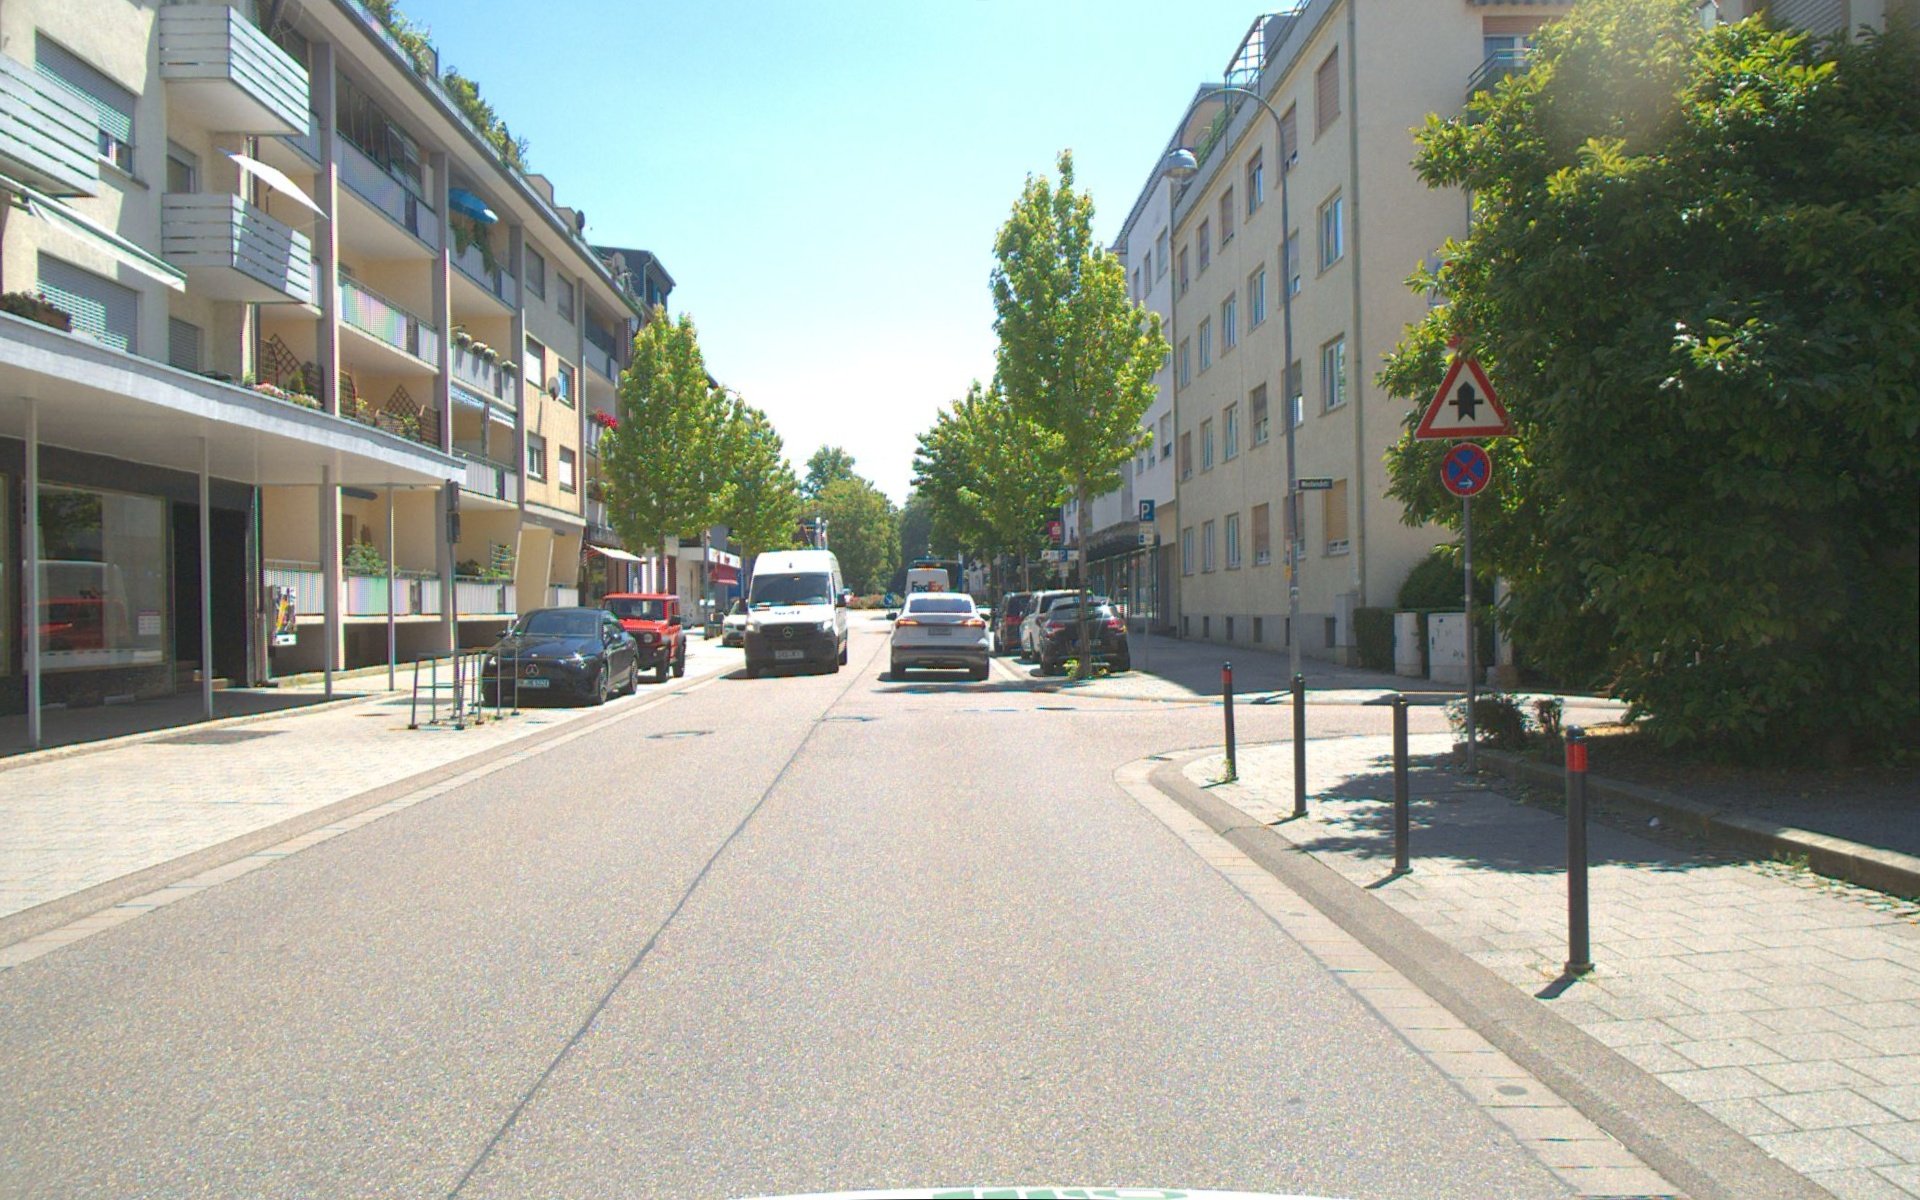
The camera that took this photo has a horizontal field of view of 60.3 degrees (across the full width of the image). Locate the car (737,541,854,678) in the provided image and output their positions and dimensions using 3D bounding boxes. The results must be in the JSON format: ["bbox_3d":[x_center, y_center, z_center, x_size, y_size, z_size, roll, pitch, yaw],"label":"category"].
[{"bbox_3d":[-3.563,0.192,37.077,1.995,2.676,7.105,-3,0,-2],"label":"car"}]

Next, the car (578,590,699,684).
[{"bbox_3d":[-6.391,0.699,33.252,1.717,1.732,4.100,1,0,-2],"label":"car"}]

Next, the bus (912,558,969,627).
[{"bbox_3d":[-0.909,-0.355,83.191,2.606,3.278,7.302,1,0,1],"label":"bus"}]

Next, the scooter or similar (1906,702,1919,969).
[{"bbox_3d":[3.858,0.857,5.762,0.650,0.980,0.753,-2,0,-2],"label":"scooter or similar"}]

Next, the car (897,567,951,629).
[{"bbox_3d":[-1.491,-0.070,69.137,2.112,2.484,5.282,1,0,-1],"label":"car"}]

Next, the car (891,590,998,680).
[{"bbox_3d":[-0.370,0.646,32.422,1.954,1.661,3.998,0,0,-3],"label":"car"}]

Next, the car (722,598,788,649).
[{"bbox_3d":[-6.970,0.771,56.550,1.717,1.646,4.400,1,0,0],"label":"car"}]

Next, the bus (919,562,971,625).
[{"bbox_3d":[-0.763,-0.307,90.546,2.606,3.266,7.452,1,0,1],"label":"bus"}]

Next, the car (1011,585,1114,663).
[{"bbox_3d":[2.426,0.545,40.362,1.859,1.704,4.687,-3,0,-4],"label":"car"}]

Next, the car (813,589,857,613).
[{"bbox_3d":[-9.715,0.080,128.961,1.827,1.788,4.000,1,0,22],"label":"car"}]

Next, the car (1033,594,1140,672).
[{"bbox_3d":[2.535,0.634,34.223,1.857,1.463,4.544,-1,0,0],"label":"car"}]

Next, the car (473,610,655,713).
[{"bbox_3d":[-6.269,0.919,26.779,1.858,1.442,5.045,1,0,-2],"label":"car"}]

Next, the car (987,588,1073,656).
[{"bbox_3d":[1.872,0.570,45.691,1.819,1.704,4.533,-3,0,-4],"label":"car"}]
